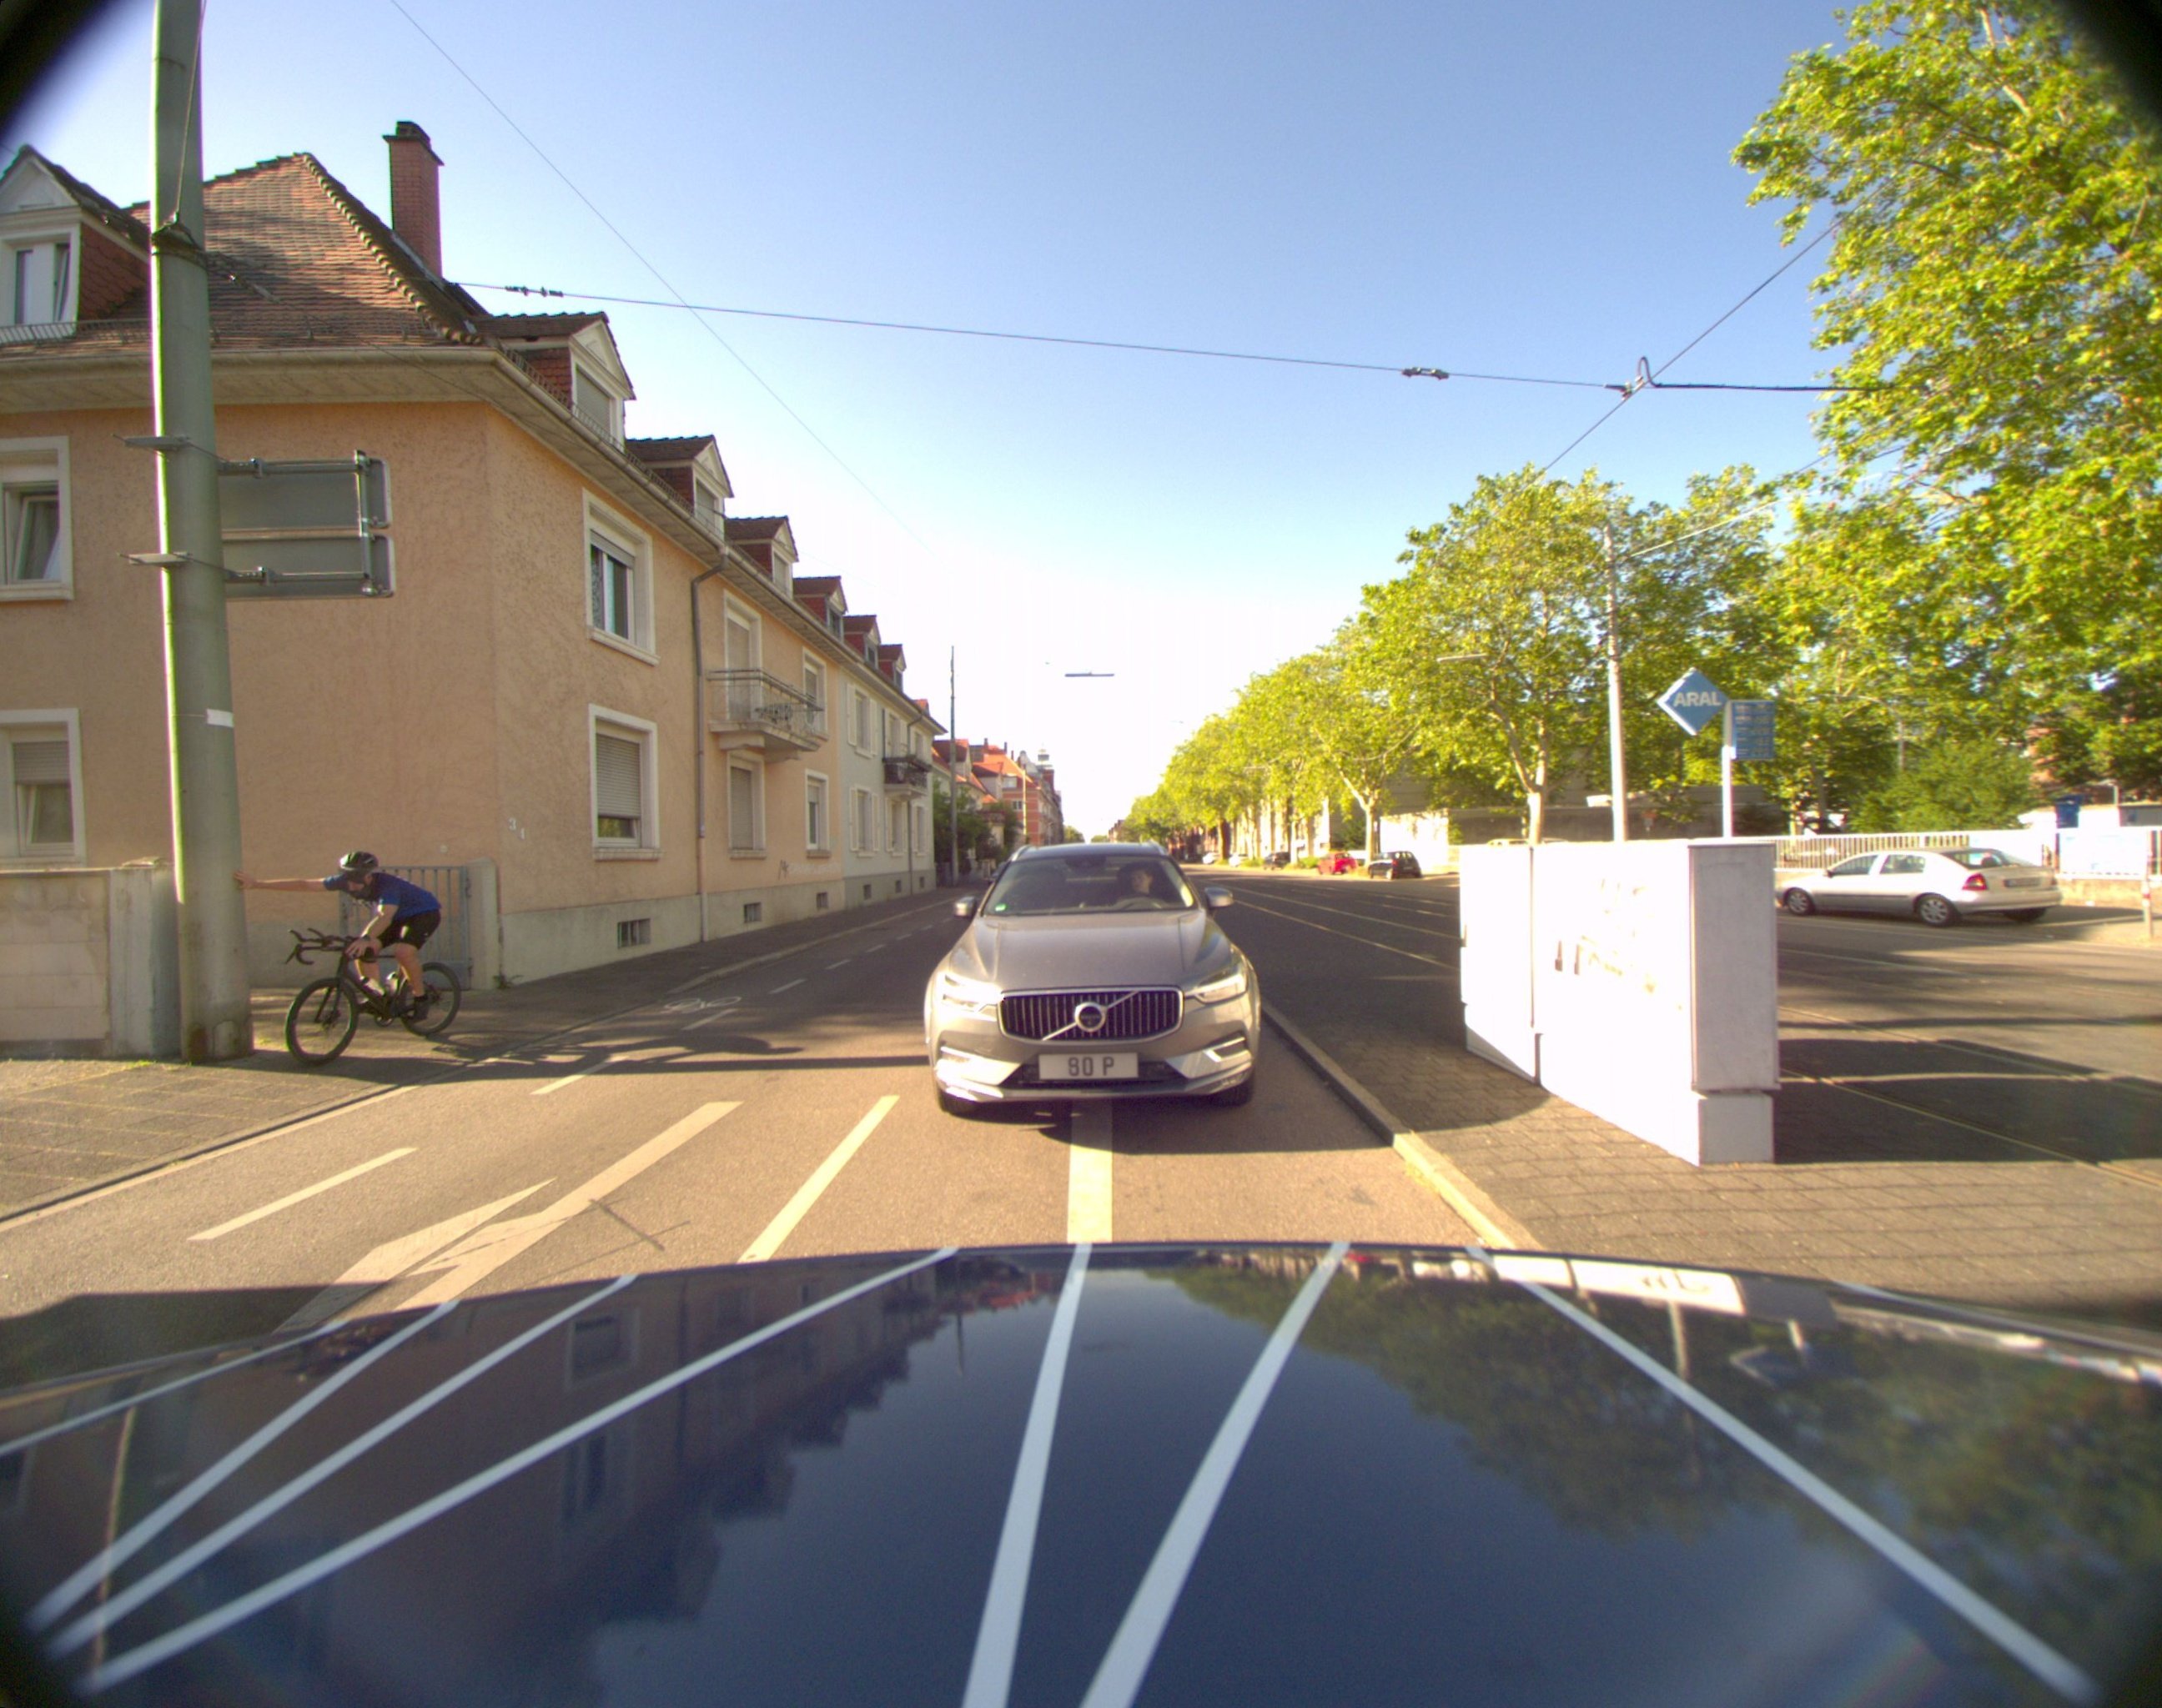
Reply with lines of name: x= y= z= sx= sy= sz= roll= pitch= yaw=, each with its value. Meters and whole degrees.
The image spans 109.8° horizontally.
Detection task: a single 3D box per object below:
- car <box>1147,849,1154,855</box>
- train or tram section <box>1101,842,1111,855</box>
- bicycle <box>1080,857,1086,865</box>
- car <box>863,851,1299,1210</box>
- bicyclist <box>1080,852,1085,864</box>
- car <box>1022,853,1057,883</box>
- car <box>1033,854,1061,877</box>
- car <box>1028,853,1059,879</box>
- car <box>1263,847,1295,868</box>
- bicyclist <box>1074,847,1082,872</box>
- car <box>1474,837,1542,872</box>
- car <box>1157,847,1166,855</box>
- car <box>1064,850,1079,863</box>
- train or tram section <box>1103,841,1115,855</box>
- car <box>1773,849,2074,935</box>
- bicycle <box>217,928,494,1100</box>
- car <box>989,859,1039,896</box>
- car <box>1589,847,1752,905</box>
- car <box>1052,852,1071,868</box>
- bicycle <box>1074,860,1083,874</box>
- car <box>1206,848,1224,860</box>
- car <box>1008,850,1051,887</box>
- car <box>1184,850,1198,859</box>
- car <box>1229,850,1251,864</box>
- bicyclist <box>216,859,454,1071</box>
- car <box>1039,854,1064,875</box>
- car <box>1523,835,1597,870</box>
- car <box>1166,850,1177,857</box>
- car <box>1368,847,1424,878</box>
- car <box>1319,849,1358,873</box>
car: x=19.660 y=-0.606 z=214.805 sx=1.695 sy=1.775 sz=3.749 roll=-3 pitch=0 yaw=1
train or tram section: x=7.535 y=-1.563 z=229.854 sx=2.717 sy=3.643 sz=12.653 roll=-1 pitch=0 yaw=0
bicycle: x=0.276 y=0.991 z=108.039 sx=0.685 sy=1.098 sz=1.806 roll=-2 pitch=1 yaw=1
car: x=0.030 y=0.829 z=5.750 sx=1.998 sy=1.628 sz=4.306 roll=-2 pitch=0 yaw=1
bicyclist: x=0.260 y=0.570 z=107.989 sx=0.685 sy=1.611 sz=0.855 roll=-2 pitch=1 yaw=1
car: x=-2.584 y=0.859 z=48.482 sx=1.793 sy=1.673 sz=3.814 roll=-3 pitch=0 yaw=2
car: x=-2.719 y=0.891 z=61.027 sx=1.793 sy=1.673 sz=3.814 roll=-3 pitch=0 yaw=2
car: x=-2.631 y=0.840 z=54.002 sx=1.793 sy=1.673 sz=3.814 roll=-3 pitch=0 yaw=2
car: x=17.138 y=0.281 z=65.886 sx=1.695 sy=1.648 sz=3.749 roll=-3 pitch=0 yaw=1
bicyclist: x=-0.212 y=0.466 z=60.241 sx=0.519 sy=1.922 sz=0.946 roll=-1 pitch=-2 yaw=3
car: x=21.547 y=0.020 z=38.470 sx=1.599 sy=1.606 sz=3.304 roll=-2 pitch=0 yaw=1
car: x=20.243 y=-0.712 z=191.411 sx=1.695 sy=1.775 sz=3.749 roll=-3 pitch=0 yaw=1
car: x=-1.292 y=0.373 z=107.099 sx=1.793 sy=1.673 sz=3.814 roll=-3 pitch=0 yaw=2
train or tram section: x=7.418 y=-1.494 z=204.618 sx=2.717 sy=3.643 sz=12.653 roll=-1 pitch=0 yaw=0
car: x=16.226 y=0.644 z=14.978 sx=1.695 sy=1.395 sz=3.813 roll=-3 pitch=0 yaw=1
bicycle: x=-6.027 y=1.267 z=6.482 sx=0.592 sy=1.062 sz=1.775 roll=4 pitch=0 yaw=1
car: x=-3.222 y=1.088 z=37.044 sx=1.695 sy=1.571 sz=3.815 roll=-3 pitch=0 yaw=5
car: x=16.411 y=0.564 z=21.413 sx=1.695 sy=1.395 sz=3.749 roll=-3 pitch=0 yaw=1
car: x=-2.150 y=0.642 z=85.366 sx=1.793 sy=1.673 sz=3.814 roll=-3 pitch=0 yaw=2
bicycle: x=-0.194 y=1.010 z=60.253 sx=0.519 sy=1.084 sz=1.797 roll=-1 pitch=-2 yaw=3
car: x=17.794 y=0.036 z=100.711 sx=1.695 sy=1.440 sz=3.749 roll=-3 pitch=0 yaw=1
car: x=-2.824 y=0.746 z=42.817 sx=1.793 sy=1.828 sz=5.149 roll=-3 pitch=0 yaw=2
car: x=18.201 y=0.083 z=125.520 sx=1.695 sy=1.440 sz=3.749 roll=-3 pitch=0 yaw=1
car: x=17.464 y=0.301 z=83.540 sx=1.695 sy=1.440 sz=3.749 roll=-3 pitch=0 yaw=1
bicyclist: x=-6.237 y=0.876 z=6.421 sx=1.051 sy=1.599 sz=0.885 roll=4 pitch=0 yaw=1
car: x=-2.551 y=0.866 z=67.072 sx=1.793 sy=1.673 sz=3.814 roll=-3 pitch=0 yaw=2
car: x=23.880 y=-0.075 z=38.022 sx=1.599 sy=1.583 sz=3.304 roll=-2 pitch=0 yaw=1
car: x=19.271 y=-0.181 z=161.874 sx=1.695 sy=1.440 sz=3.749 roll=-3 pitch=0 yaw=1
car: x=16.885 y=0.433 z=40.892 sx=1.599 sy=1.498 sz=3.304 roll=-3 pitch=0 yaw=1
car: x=16.878 y=0.441 z=49.863 sx=1.599 sy=1.498 sz=2.622 roll=-3 pitch=0 yaw=1
